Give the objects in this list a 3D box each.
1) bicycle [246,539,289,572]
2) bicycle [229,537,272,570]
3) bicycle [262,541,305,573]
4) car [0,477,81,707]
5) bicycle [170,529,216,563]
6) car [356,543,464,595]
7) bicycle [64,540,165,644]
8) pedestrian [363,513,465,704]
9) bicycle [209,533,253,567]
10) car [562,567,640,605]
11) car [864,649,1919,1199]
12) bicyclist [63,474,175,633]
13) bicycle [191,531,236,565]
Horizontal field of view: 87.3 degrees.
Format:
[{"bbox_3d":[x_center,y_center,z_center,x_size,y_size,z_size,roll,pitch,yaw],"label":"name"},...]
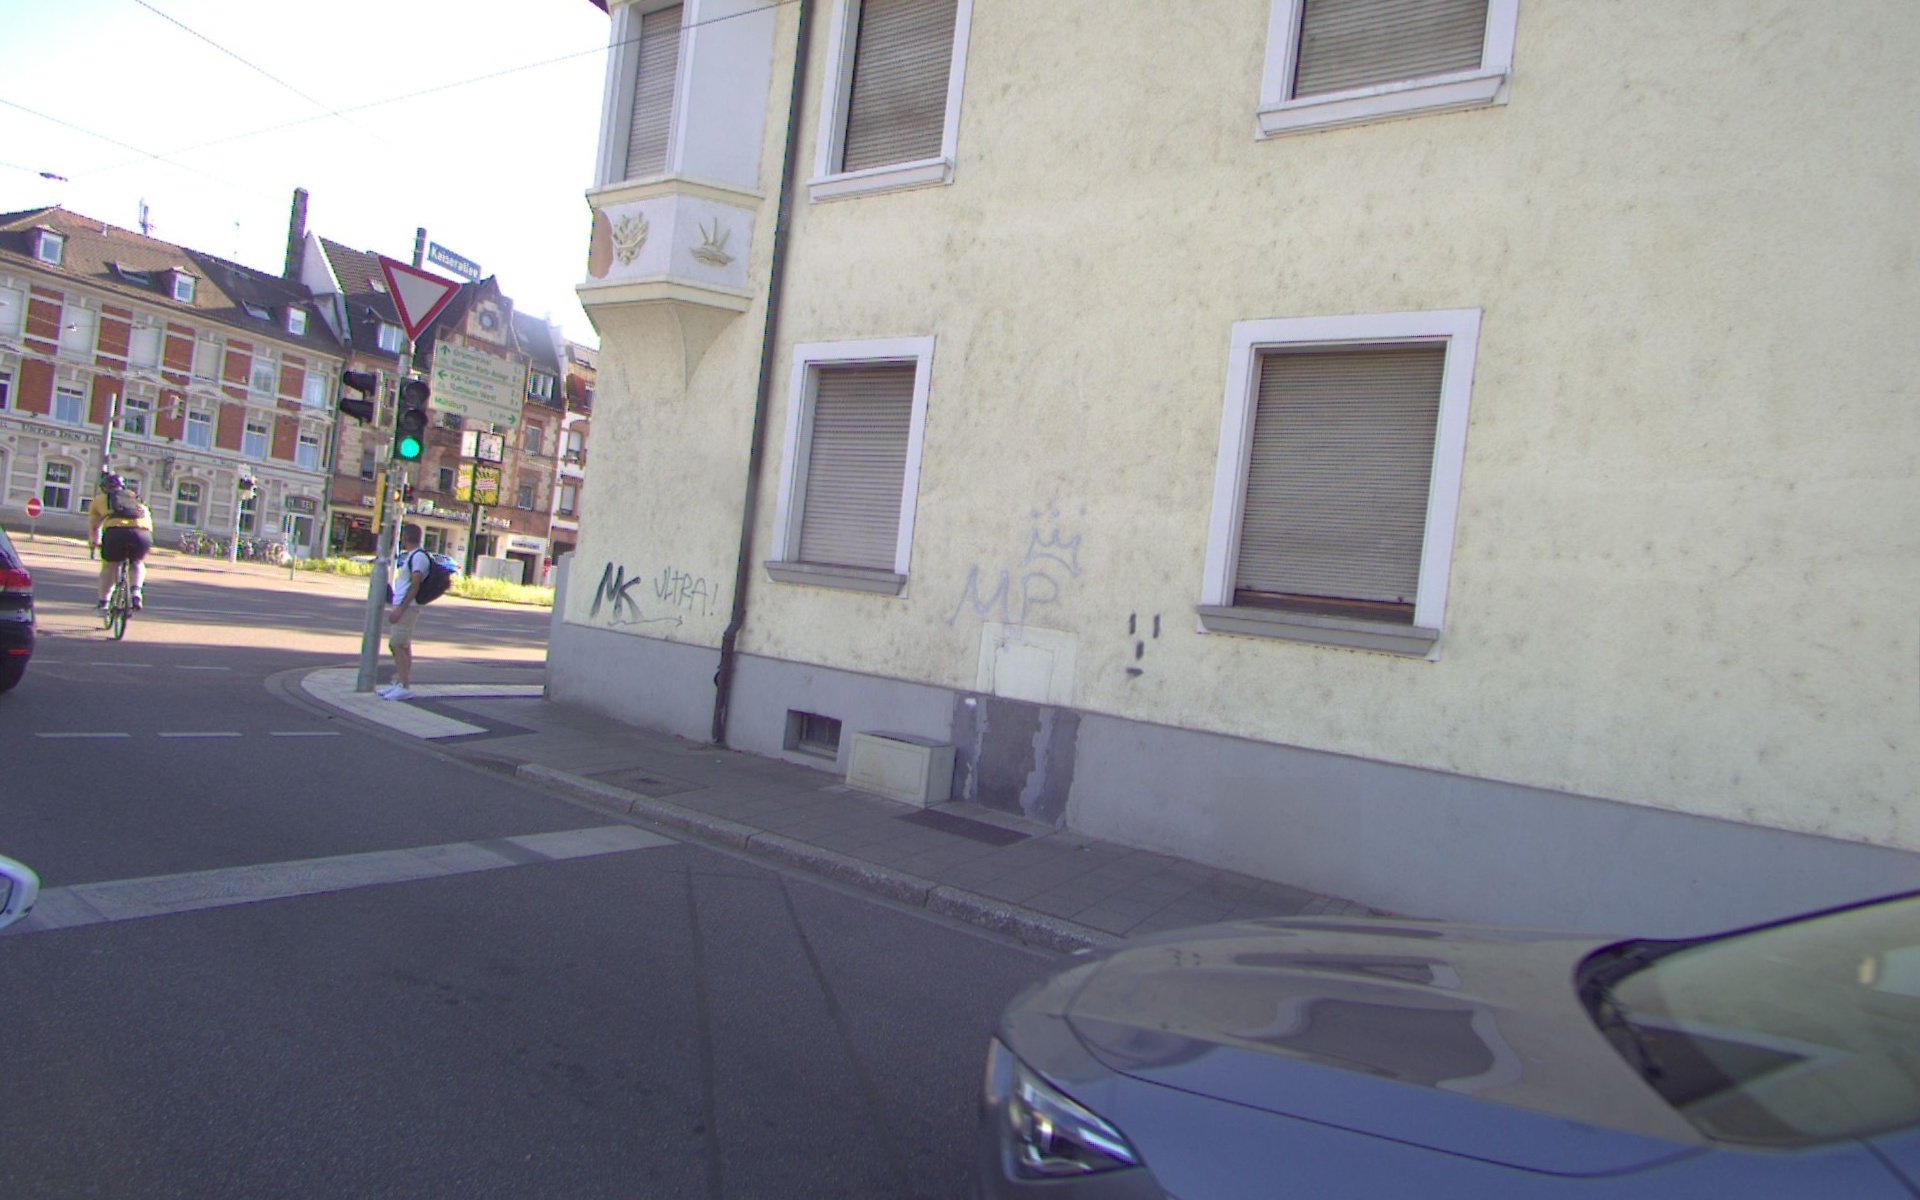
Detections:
[{"bbox_3d":[-33.045,-2.138,47.985,2.618,1.301,0.629,6,-1,33],"label":"bicycle"},{"bbox_3d":[-33.410,-2.216,47.356,2.618,1.301,0.629,6,-1,33],"label":"bicycle"},{"bbox_3d":[-32.674,-2.069,48.575,2.618,1.301,0.629,6,-1,33],"label":"bicycle"},{"bbox_3d":[-8.384,-0.339,7.361,3.983,1.525,1.732,9,-1,32],"label":"car"},{"bbox_3d":[-34.614,-2.444,45.386,2.618,1.301,0.693,6,-1,33],"label":"bicycle"},{"bbox_3d":[-25.520,-1.416,46.799,1.967,1.798,3.790,6,-2,31],"label":"car"},{"bbox_3d":[-9.849,-0.119,11.743,0.752,1.043,1.761,8,-2,-40],"label":"bicycle"},{"bbox_3d":[-5.349,0.075,9.882,0.631,1.780,0.584,4,3,-7],"label":"pedestrian"},{"bbox_3d":[-33.825,-2.322,46.684,2.618,1.301,0.629,6,-1,33],"label":"bicycle"},{"bbox_3d":[-23.237,-0.871,65.278,1.967,1.798,4.374,6,-2,31],"label":"car"},{"bbox_3d":[2.203,1.100,1.476,4.419,1.436,1.910,6,-2,33],"label":"car"},{"bbox_3d":[-9.801,-0.532,11.735,0.803,1.682,0.873,8,-1,-41],"label":"bicyclist"},{"bbox_3d":[-34.192,-2.385,46.059,2.618,1.301,0.693,6,-1,33],"label":"bicycle"}]
